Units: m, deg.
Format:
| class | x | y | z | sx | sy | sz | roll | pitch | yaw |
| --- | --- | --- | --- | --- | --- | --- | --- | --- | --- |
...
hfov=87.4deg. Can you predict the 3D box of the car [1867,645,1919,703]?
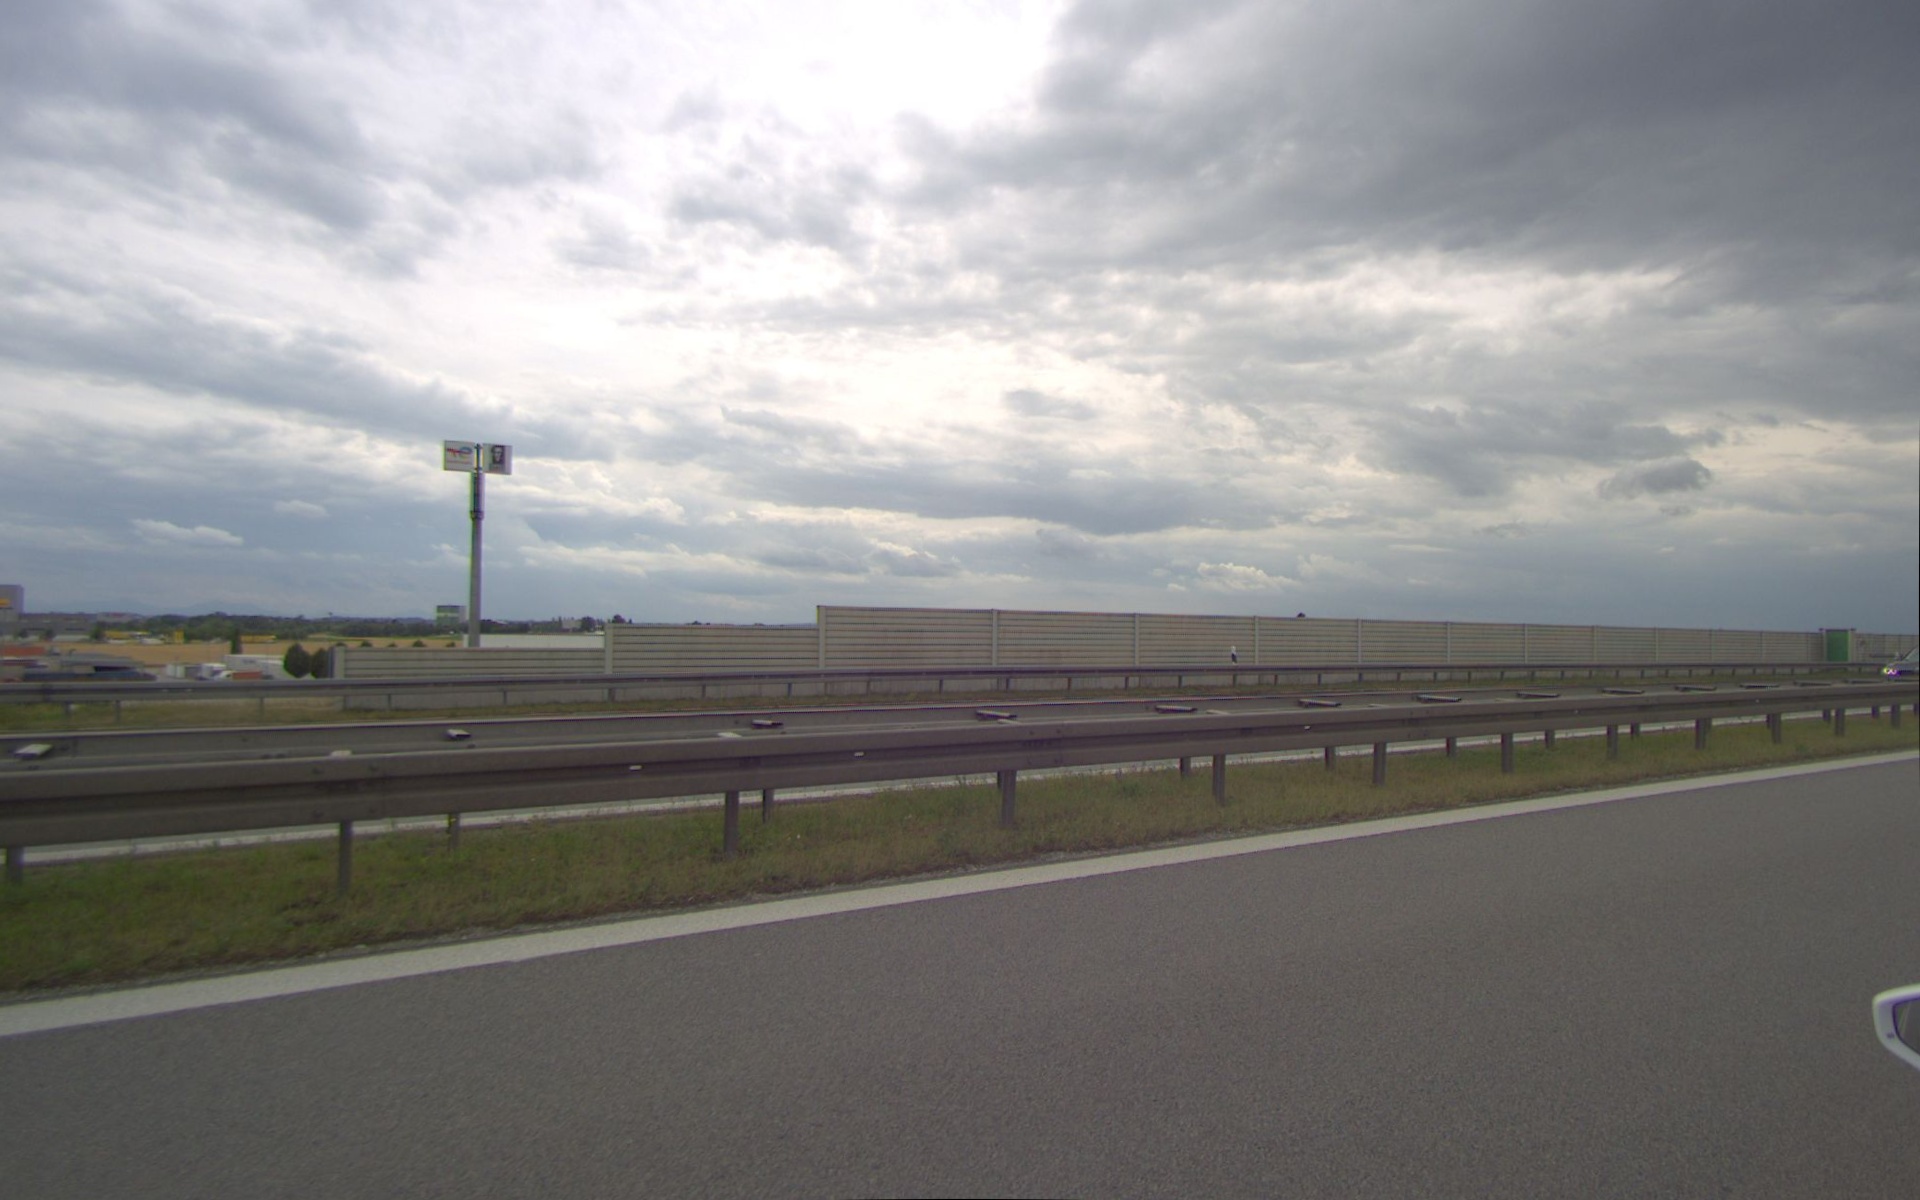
| class | x | y | z | sx | sy | sz | roll | pitch | yaw |
| --- | --- | --- | --- | --- | --- | --- | --- | --- | --- |
| car | 27.575 | 2.043 | 28.120 | 5.113 | 1.470 | 1.779 | 1 | -1 | -30 |
